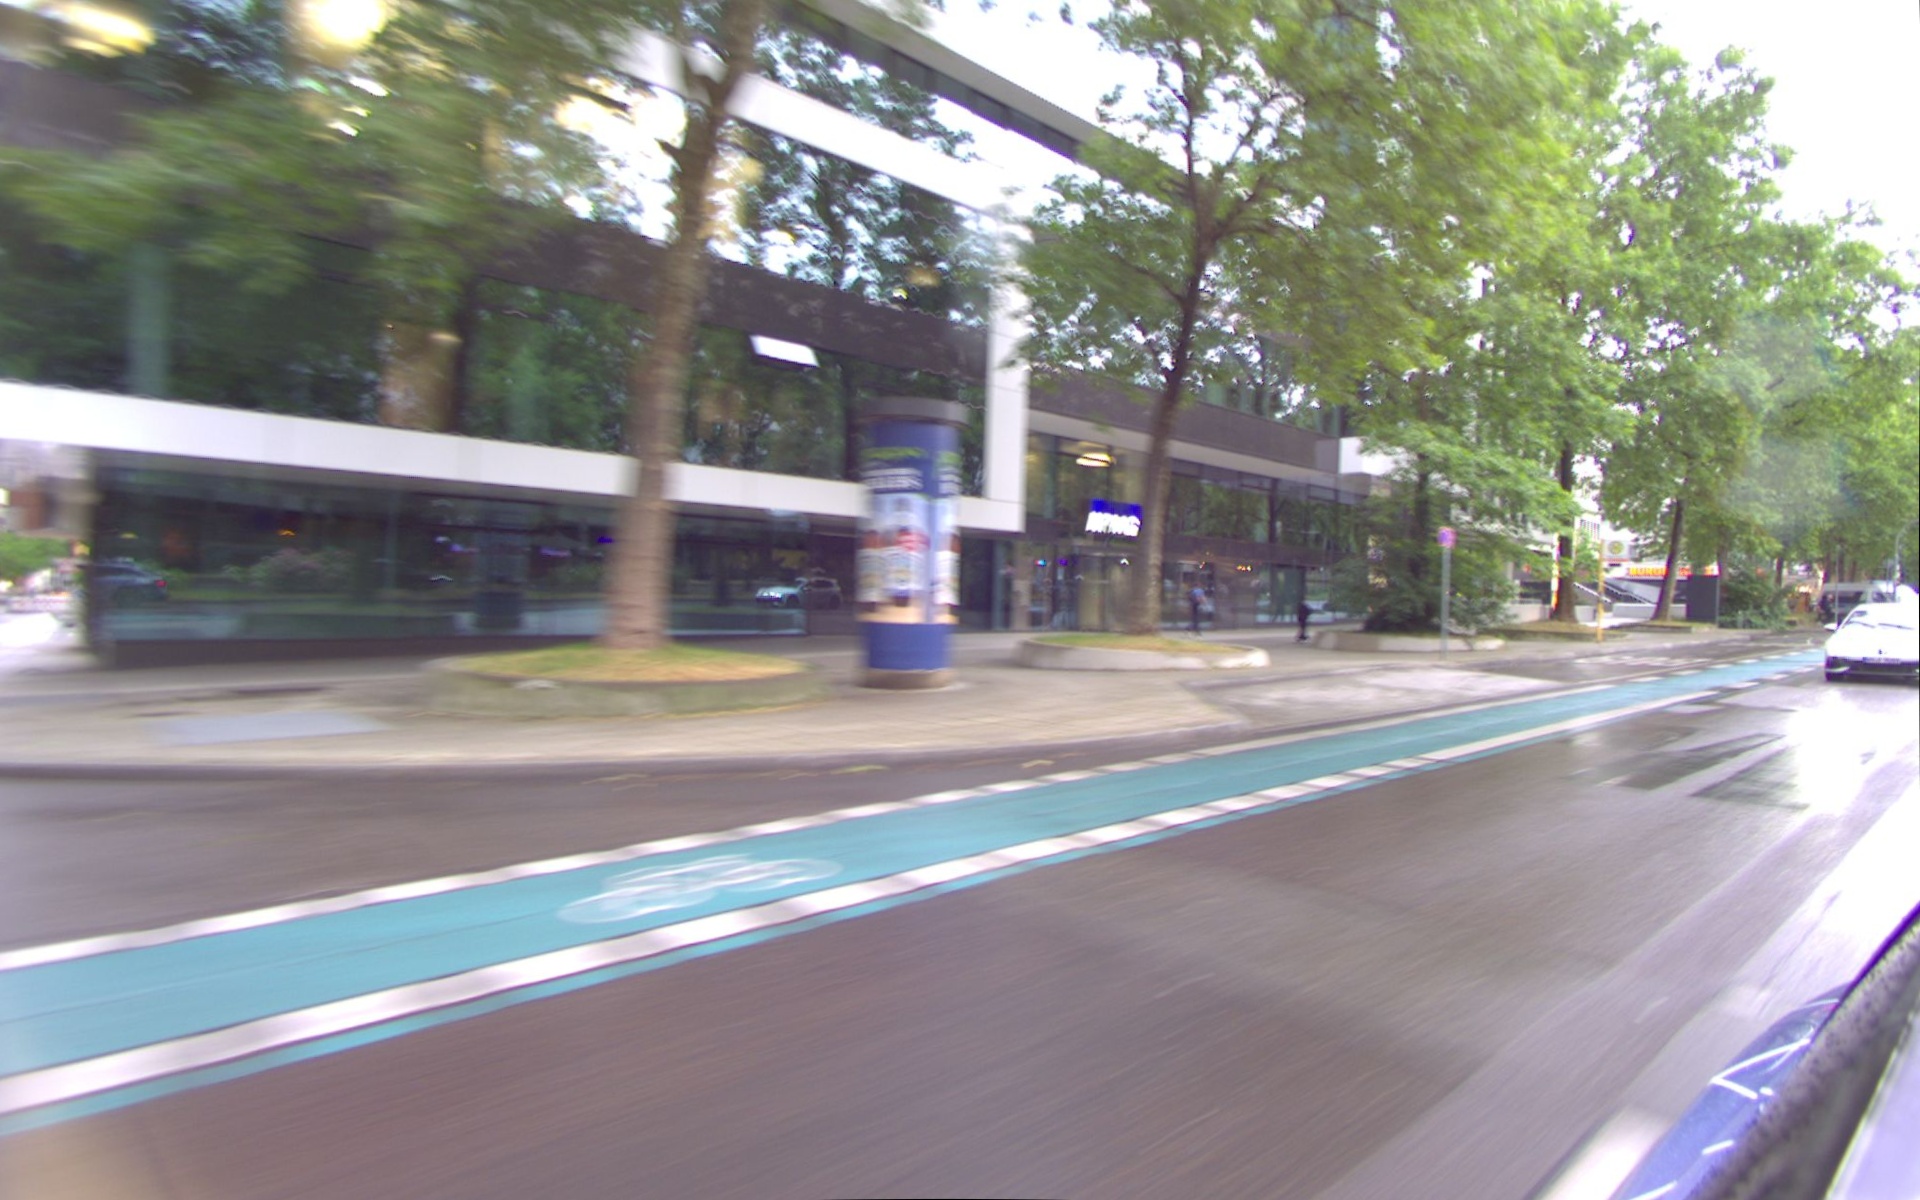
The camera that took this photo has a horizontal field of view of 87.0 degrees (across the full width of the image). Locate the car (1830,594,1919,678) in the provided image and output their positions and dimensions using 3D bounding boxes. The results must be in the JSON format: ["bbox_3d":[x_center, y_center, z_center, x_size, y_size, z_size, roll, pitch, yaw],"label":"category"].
[{"bbox_3d":[18.127,0.625,19.317,3.727,1.490,1.794,0,0,-41],"label":"car"}]

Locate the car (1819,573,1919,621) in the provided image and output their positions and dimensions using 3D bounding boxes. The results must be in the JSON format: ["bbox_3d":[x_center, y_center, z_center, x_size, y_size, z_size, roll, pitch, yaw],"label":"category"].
[{"bbox_3d":[55.281,-0.201,60.396,2.275,2.713,6.292,0,1,-6],"label":"car"}]

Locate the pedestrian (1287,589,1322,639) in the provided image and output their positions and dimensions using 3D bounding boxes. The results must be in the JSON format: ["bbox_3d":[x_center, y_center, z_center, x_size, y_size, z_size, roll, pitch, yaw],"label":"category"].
[{"bbox_3d":[10.943,0.434,32.150,0.987,1.524,0.588,0,1,-41],"label":"pedestrian"}]

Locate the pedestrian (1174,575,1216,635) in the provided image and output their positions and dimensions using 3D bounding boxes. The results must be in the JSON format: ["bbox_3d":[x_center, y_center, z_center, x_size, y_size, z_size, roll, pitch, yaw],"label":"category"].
[{"bbox_3d":[7.453,0.148,32.039,0.787,1.816,1.070,4,2,43],"label":"pedestrian"}]
